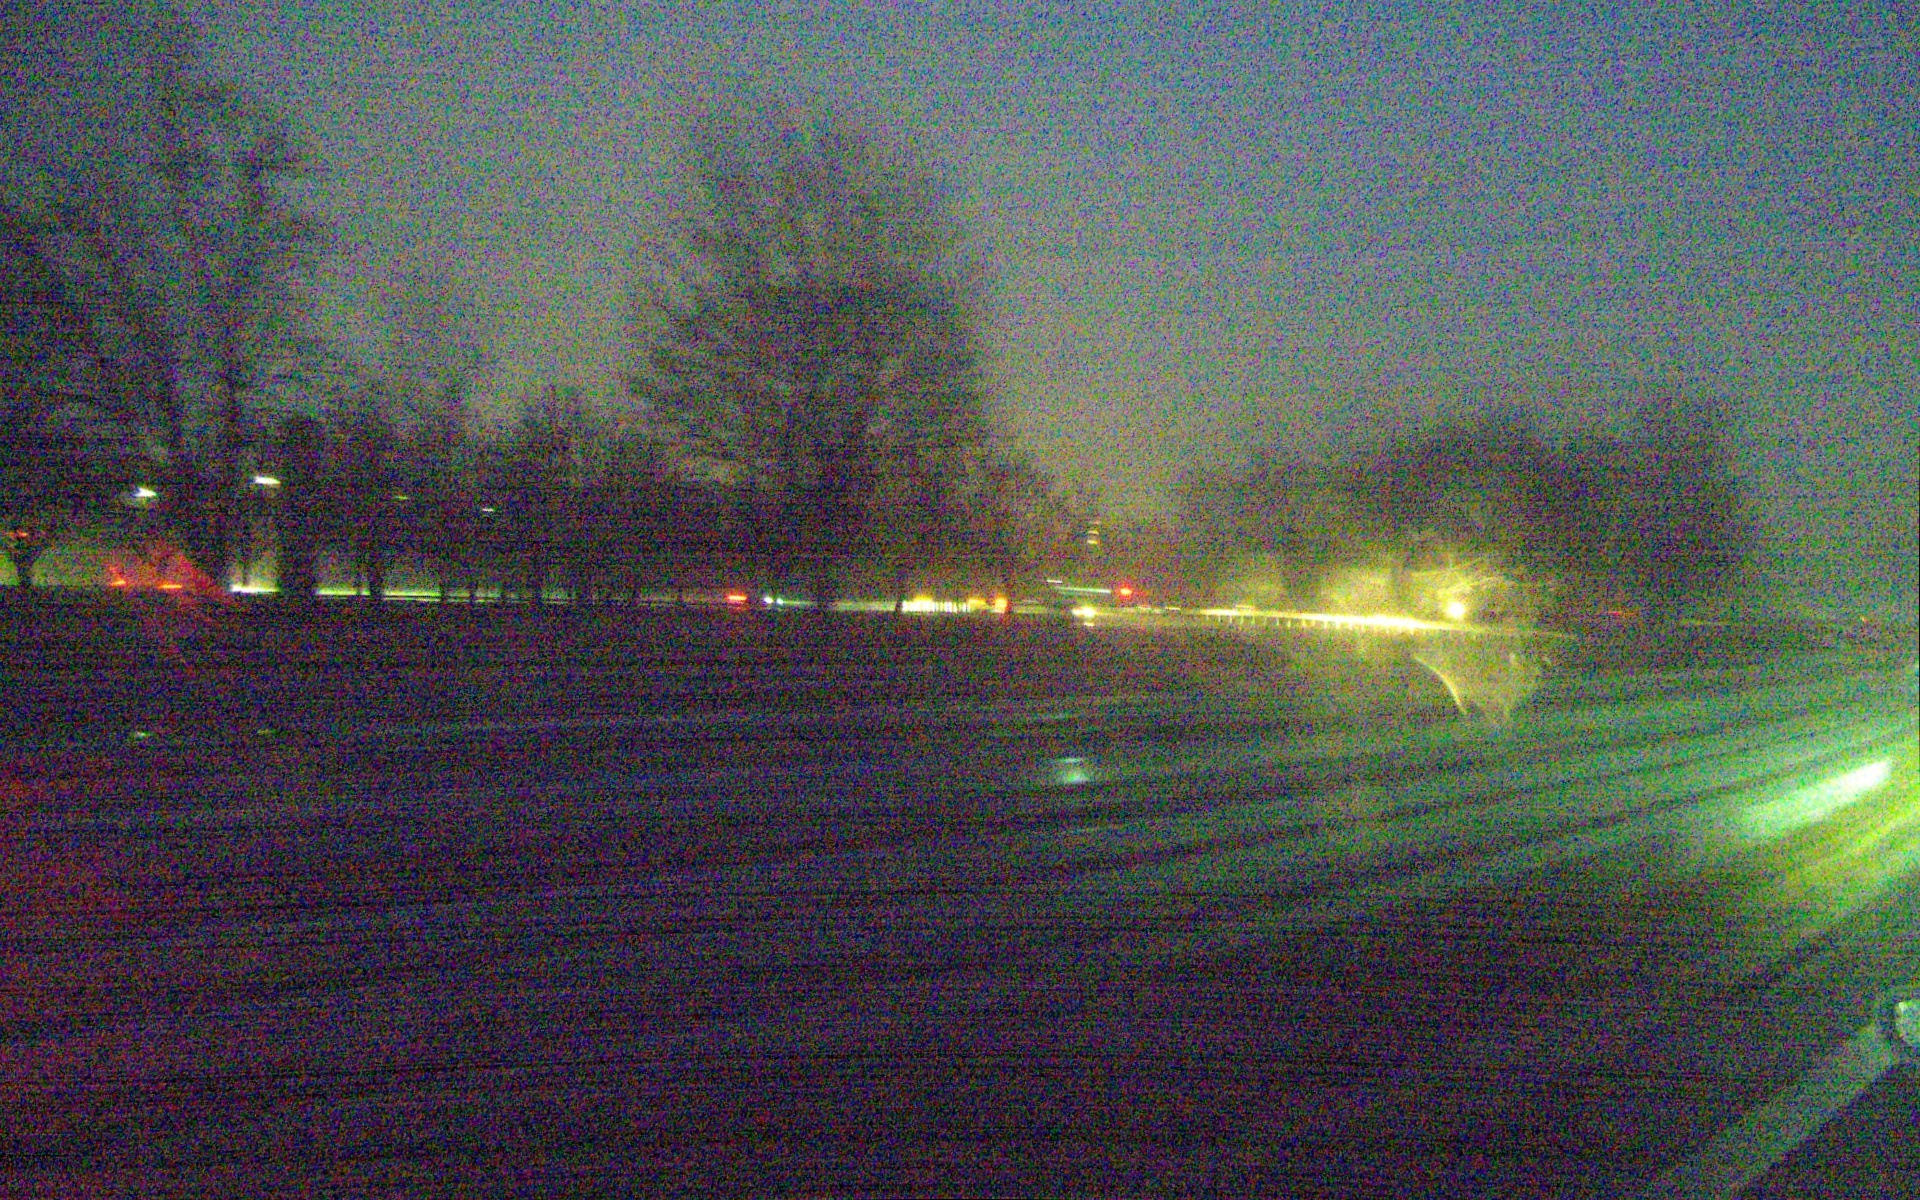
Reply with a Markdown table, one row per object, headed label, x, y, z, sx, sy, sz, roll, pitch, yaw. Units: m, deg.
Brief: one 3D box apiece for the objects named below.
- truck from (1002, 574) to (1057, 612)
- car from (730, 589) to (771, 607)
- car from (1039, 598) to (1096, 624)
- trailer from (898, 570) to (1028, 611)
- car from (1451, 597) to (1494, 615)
| label | x | y | z | sx | sy | sz | roll | pitch | yaw |
| --- | --- | --- | --- | --- | --- | --- | --- | --- | --- |
| truck | 7.239 | -0.766 | 105.395 | 5.352 | 3.761 | 2.595 | 2 | 2 | -2 |
| car | -21.366 | -0.220 | 102.409 | 3.927 | 1.640 | 1.997 | 2 | 2 | -9 |
| car | 7.945 | 0.793 | 74.285 | 1.748 | 1.662 | 3.946 | 0 | 3 | -45 |
| trailer | 0.280 | -1.026 | 105.180 | 13.386 | 3.775 | 2.599 | 2 | 2 | -2 |
| car | 63.872 | 0.736 | 125.202 | 4.385 | 2.041 | 1.998 | 2 | 2 | -4 |
